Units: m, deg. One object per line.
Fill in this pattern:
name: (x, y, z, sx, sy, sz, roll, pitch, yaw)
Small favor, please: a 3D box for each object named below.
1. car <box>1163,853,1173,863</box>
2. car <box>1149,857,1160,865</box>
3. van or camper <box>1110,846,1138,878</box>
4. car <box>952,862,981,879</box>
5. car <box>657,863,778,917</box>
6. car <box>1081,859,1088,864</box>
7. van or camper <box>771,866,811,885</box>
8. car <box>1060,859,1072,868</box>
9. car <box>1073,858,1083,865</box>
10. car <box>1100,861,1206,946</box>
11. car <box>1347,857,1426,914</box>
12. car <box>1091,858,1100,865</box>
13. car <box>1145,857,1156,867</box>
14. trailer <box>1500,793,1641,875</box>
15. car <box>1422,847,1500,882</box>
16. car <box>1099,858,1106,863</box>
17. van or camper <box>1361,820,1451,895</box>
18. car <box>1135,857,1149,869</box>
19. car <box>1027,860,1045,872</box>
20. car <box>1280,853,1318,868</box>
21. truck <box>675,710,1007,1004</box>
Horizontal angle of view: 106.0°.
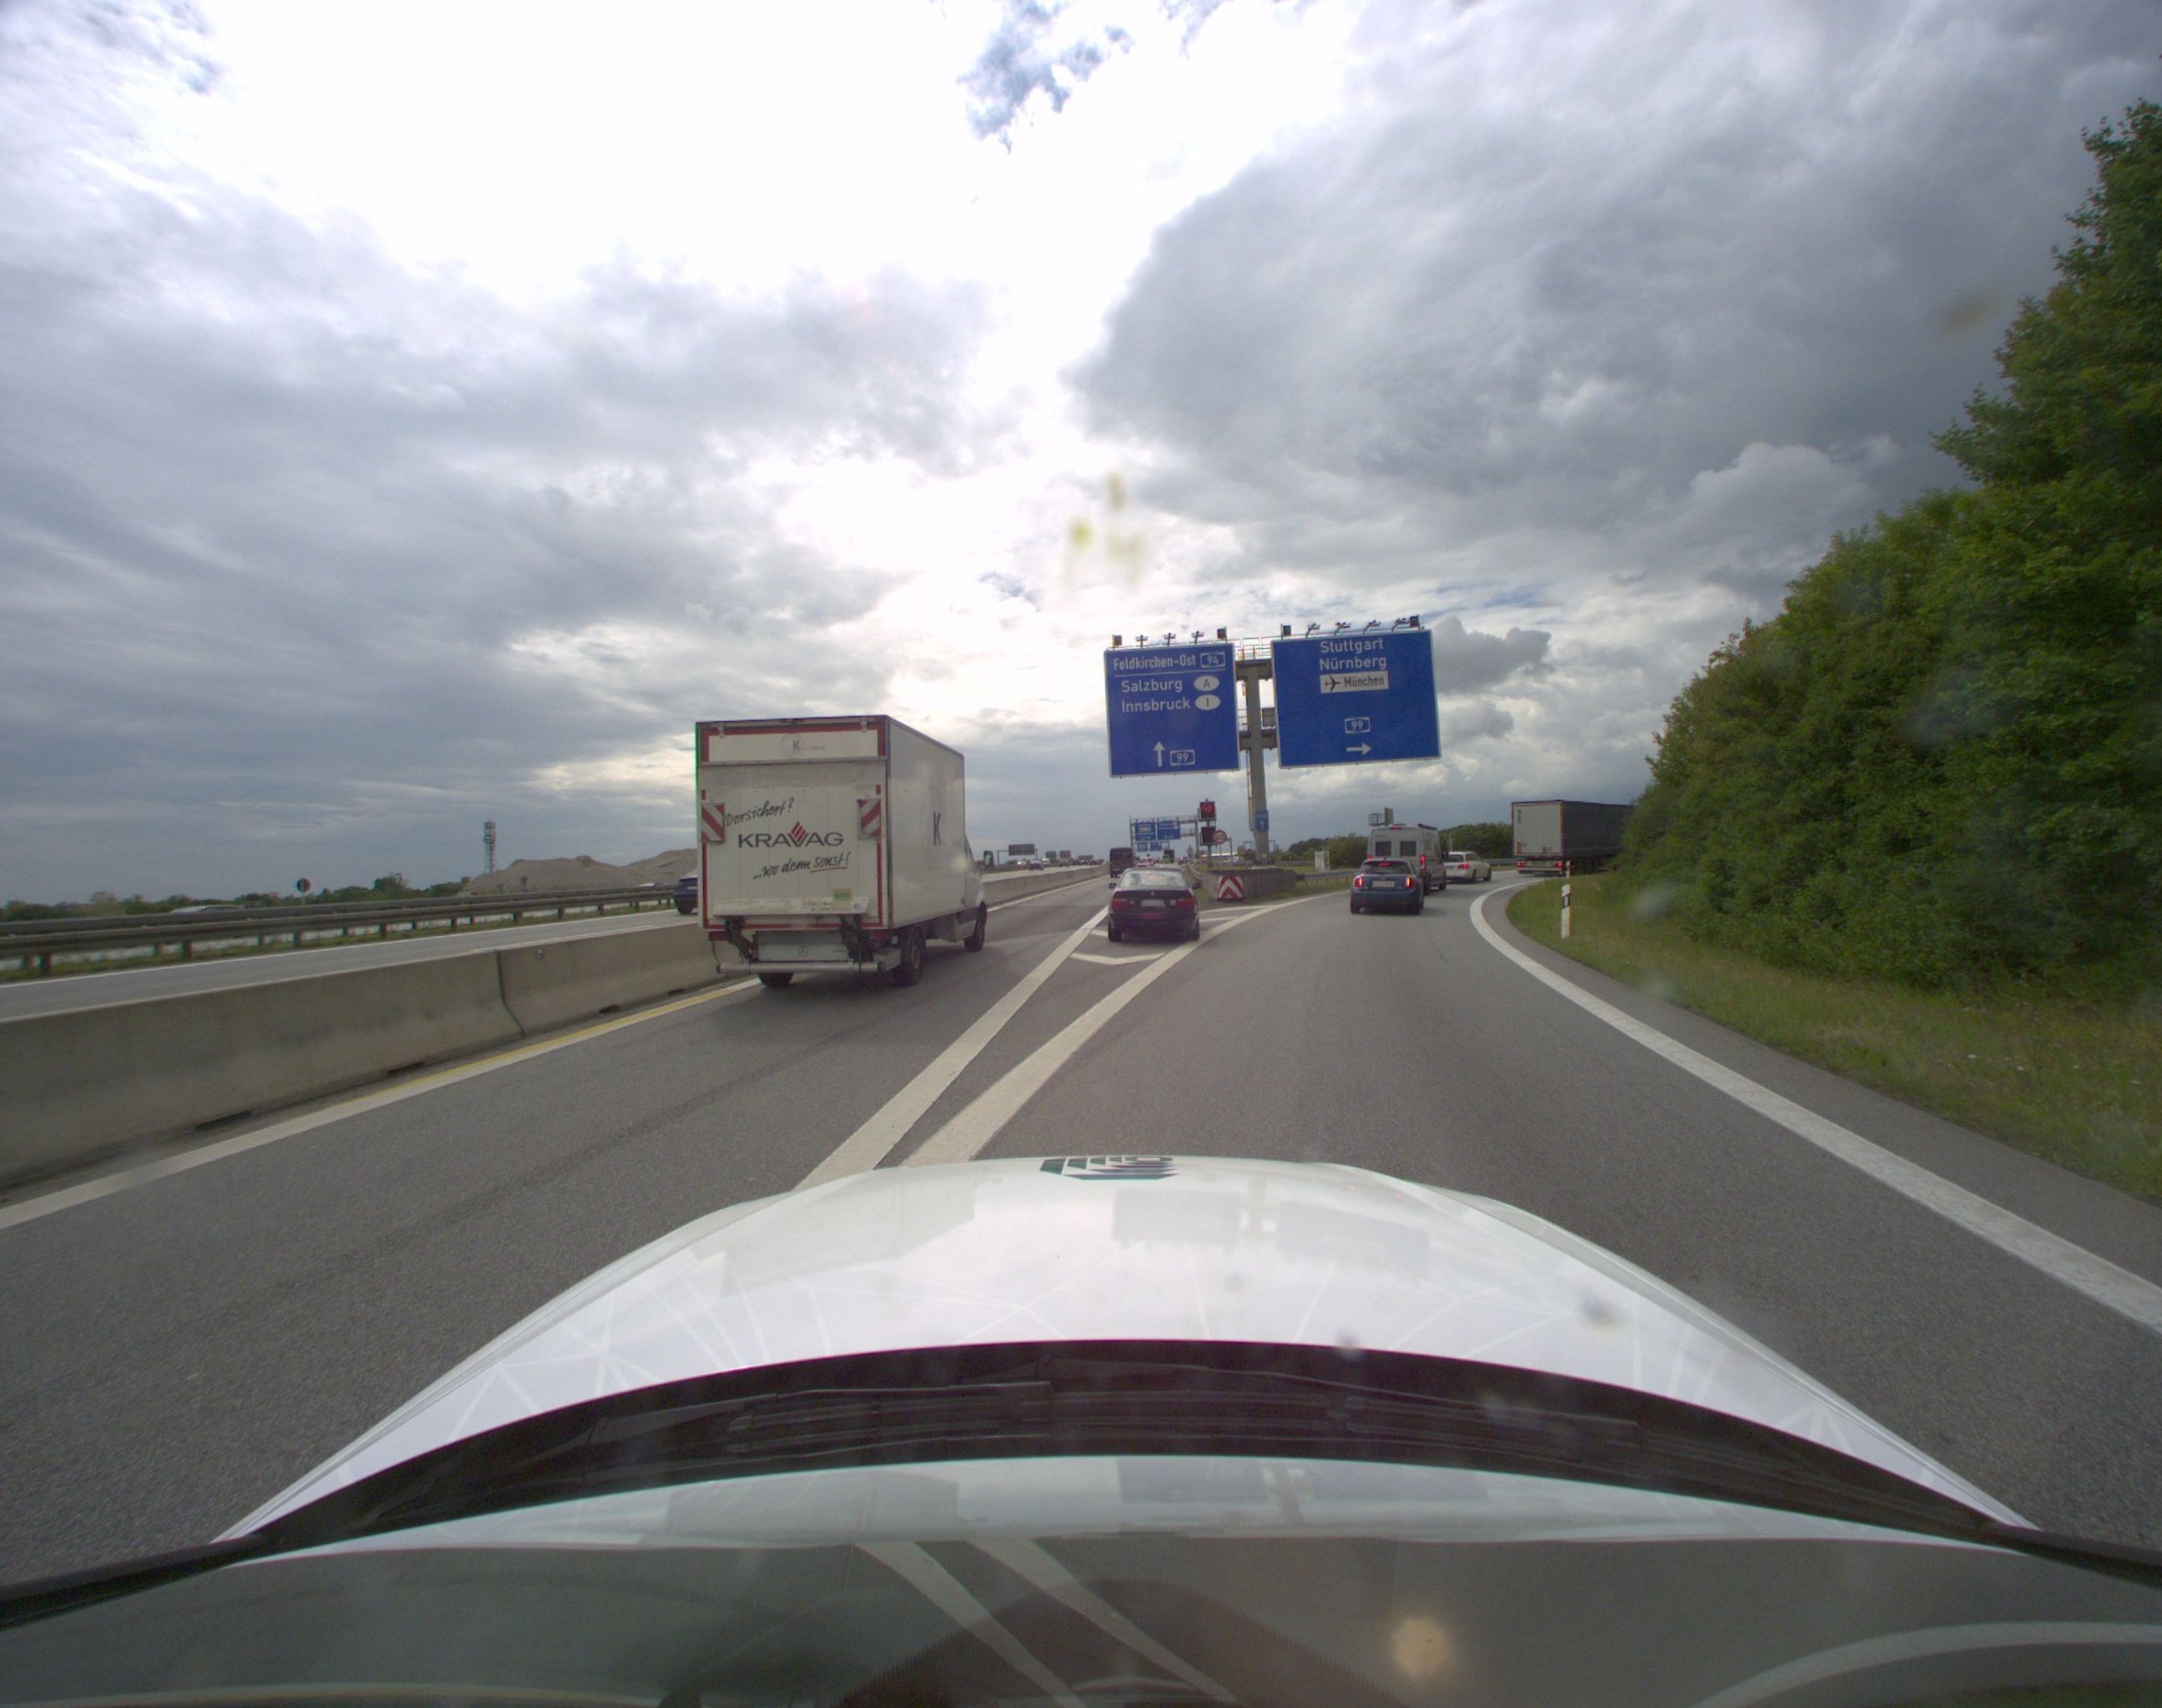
car: (19.334, 0.879, 182.076, 1.985, 2.013, 4.004, -2, 0, 4)
car: (14.076, 1.304, 155.776, 1.982, 1.468, 4.009, -2, 0, 8)
van or camper: (3.481, 0.650, 64.895, 1.990, 2.370, 6.135, -2, 0, 5)
car: (-10.482, 1.499, 74.708, 1.764, 1.450, 4.388, -2, 0, 4)
car: (-12.568, 1.200, 28.539, 1.985, 1.662, 4.389, -2, 0, 4)
car: (1.043, 2.174, 230.242, 1.546, 1.376, 4.005, -1, 0, 4)
van or camper: (-34.422, 2.516, 96.886, 2.227, 2.013, 6.280, -2, 0, 2)
car: (-3.014, 1.895, 165.234, 1.892, 1.640, 4.650, -2, 0, 4)
car: (-0.749, 1.885, 197.238, 1.892, 1.638, 4.238, -1, 0, 4)
car: (1.443, 0.879, 16.103, 1.773, 1.378, 4.143, -2, 0, 6)
car: (8.362, 0.798, 22.122, 1.713, 1.419, 3.686, -1, -1, 25)
car: (3.499, 1.757, 191.747, 1.766, 1.530, 4.005, -2, 0, 4)
car: (11.050, 1.235, 128.970, 1.577, 1.484, 3.540, -2, 0, 6)
trailer: (28.788, -1.112, 47.395, 13.104, 4.193, 3.301, -1, -1, -42)
car: (18.246, 0.478, 38.959, 2.185, 1.501, 4.817, -3, -1, 39)
car: (6.551, 1.952, 248.921, 1.984, 1.683, 4.873, -2, 0, 5)
van or camper: (12.633, 0.111, 31.386, 2.271, 2.568, 6.199, -2, -1, 30)
car: (7.813, 1.122, 103.794, 1.693, 1.508, 3.844, -2, 0, 4)
car: (-6.426, 1.710, 117.184, 2.050, 1.527, 4.572, -2, 0, 4)
car: (27.255, 0.803, 101.877, 2.009, 1.772, 4.199, -1, -1, -37)
truck: (-2.888, 0.058, 11.922, 2.392, 3.090, 6.379, -2, 0, 5)
